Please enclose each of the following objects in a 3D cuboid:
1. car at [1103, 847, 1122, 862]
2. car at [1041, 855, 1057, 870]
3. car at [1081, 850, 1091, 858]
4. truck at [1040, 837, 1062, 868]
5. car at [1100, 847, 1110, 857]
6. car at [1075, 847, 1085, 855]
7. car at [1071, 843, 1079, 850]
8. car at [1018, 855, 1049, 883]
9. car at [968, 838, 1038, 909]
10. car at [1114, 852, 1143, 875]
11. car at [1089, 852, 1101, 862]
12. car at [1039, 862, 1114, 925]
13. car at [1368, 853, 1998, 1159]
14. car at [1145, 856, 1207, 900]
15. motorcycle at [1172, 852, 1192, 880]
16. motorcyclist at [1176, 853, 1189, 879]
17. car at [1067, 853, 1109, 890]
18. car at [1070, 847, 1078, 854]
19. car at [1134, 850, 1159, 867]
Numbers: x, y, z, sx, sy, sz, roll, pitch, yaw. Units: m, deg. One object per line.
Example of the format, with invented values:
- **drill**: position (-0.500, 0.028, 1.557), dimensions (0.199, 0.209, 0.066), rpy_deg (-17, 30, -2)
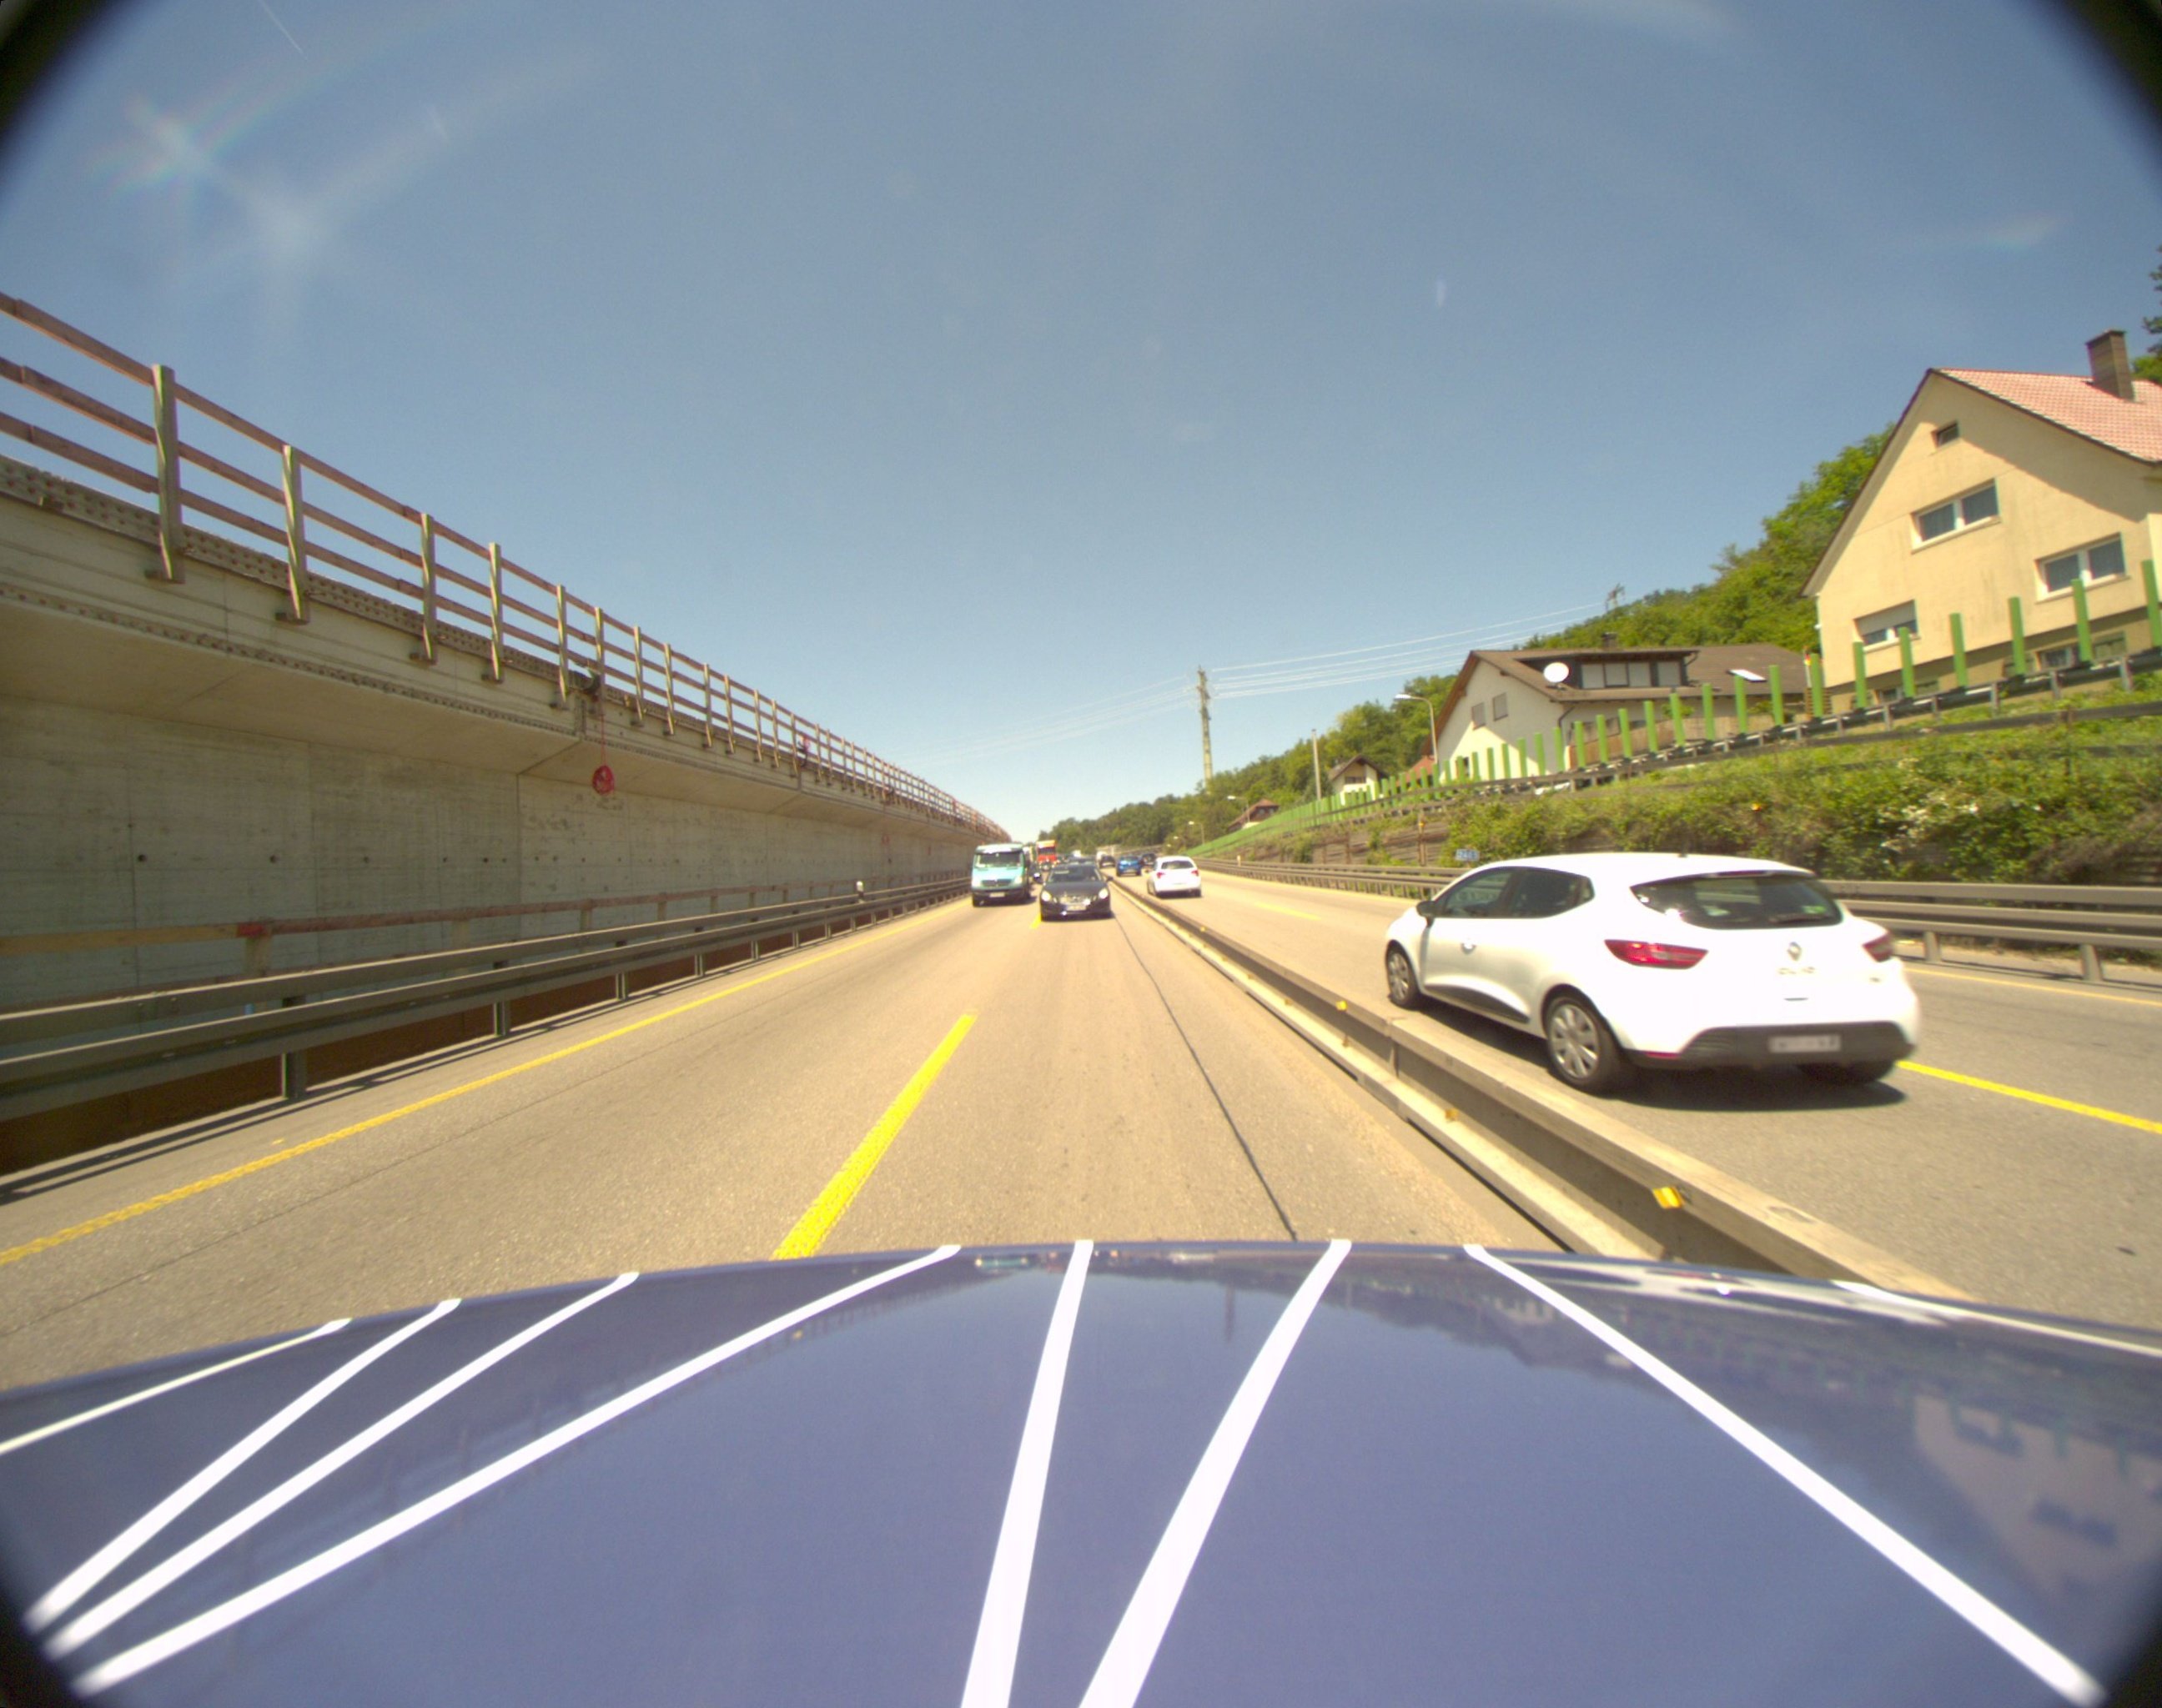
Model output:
- **car**: position (3.605, 0.033, 87.166), dimensions (1.847, 1.521, 4.293), rpy_deg (-3, 1, 0)
- **car**: position (-3.916, 1.013, 93.034), dimensions (1.674, 1.499, 3.647), rpy_deg (-6, 1, 0)
- **car**: position (0.895, -0.026, 145.291), dimensions (1.737, 1.429, 4.257), rpy_deg (-4, 1, -1)
- **truck**: position (-4.353, -0.298, 109.348), dimensions (2.651, 3.978, 11.192), rpy_deg (-6, 1, -3)
- **car**: position (4.513, -0.397, 140.929), dimensions (1.600, 1.823, 4.752), rpy_deg (-2, 1, 0)
- **car**: position (-0.290, -0.795, 188.933), dimensions (1.830, 1.914, 5.241), rpy_deg (-4, 0, -5)
- **car**: position (-1.768, -2.120, 220.845), dimensions (1.998, 2.002, 4.000), rpy_deg (-3, 0, 0)
- **car**: position (-3.305, 1.035, 53.228), dimensions (1.860, 1.650, 3.999), rpy_deg (-6, 1, -1)
- **car**: position (-2.964, 0.681, 30.614), dimensions (1.968, 2.367, 7.209), rpy_deg (-5, 0, -1)
- **car**: position (3.494, 0.665, 56.083), dimensions (1.768, 1.601, 3.891), rpy_deg (-2, 0, -1)
- **car**: position (2.318, 0.450, 123.435), dimensions (1.610, 1.438, 4.668), rpy_deg (-3, 1, -2)
- **car**: position (-0.220, 0.995, 20.875), dimensions (1.793, 1.440, 4.296), rpy_deg (-2, 0, -3)
- **car**: position (3.769, 0.768, 5.726), dimensions (1.695, 1.477, 3.749), rpy_deg (-2, 0, -1)
- **car**: position (3.518, 0.836, 28.776), dimensions (1.771, 1.477, 3.865), rpy_deg (-2, 0, -1)
- **motorcycle**: position (6.048, 0.707, 45.475), dimensions (0.792, 1.542, 2.621), rpy_deg (-3, -1, 0)
- **motorcyclist**: position (6.089, 0.715, 45.624), dimensions (0.667, 1.576, 0.736), rpy_deg (-2, 1, 0)
- **car**: position (0.325, 0.873, 40.287), dimensions (1.860, 1.650, 3.999), rpy_deg (-6, 1, -2)
- **car**: position (-2.109, -1.003, 221.102), dimensions (1.999, 1.816, 4.507), rpy_deg (-1, 0, -2)
- **car**: position (6.317, 0.414, 73.983), dimensions (1.818, 1.440, 5.005), rpy_deg (-4, 1, -1)
